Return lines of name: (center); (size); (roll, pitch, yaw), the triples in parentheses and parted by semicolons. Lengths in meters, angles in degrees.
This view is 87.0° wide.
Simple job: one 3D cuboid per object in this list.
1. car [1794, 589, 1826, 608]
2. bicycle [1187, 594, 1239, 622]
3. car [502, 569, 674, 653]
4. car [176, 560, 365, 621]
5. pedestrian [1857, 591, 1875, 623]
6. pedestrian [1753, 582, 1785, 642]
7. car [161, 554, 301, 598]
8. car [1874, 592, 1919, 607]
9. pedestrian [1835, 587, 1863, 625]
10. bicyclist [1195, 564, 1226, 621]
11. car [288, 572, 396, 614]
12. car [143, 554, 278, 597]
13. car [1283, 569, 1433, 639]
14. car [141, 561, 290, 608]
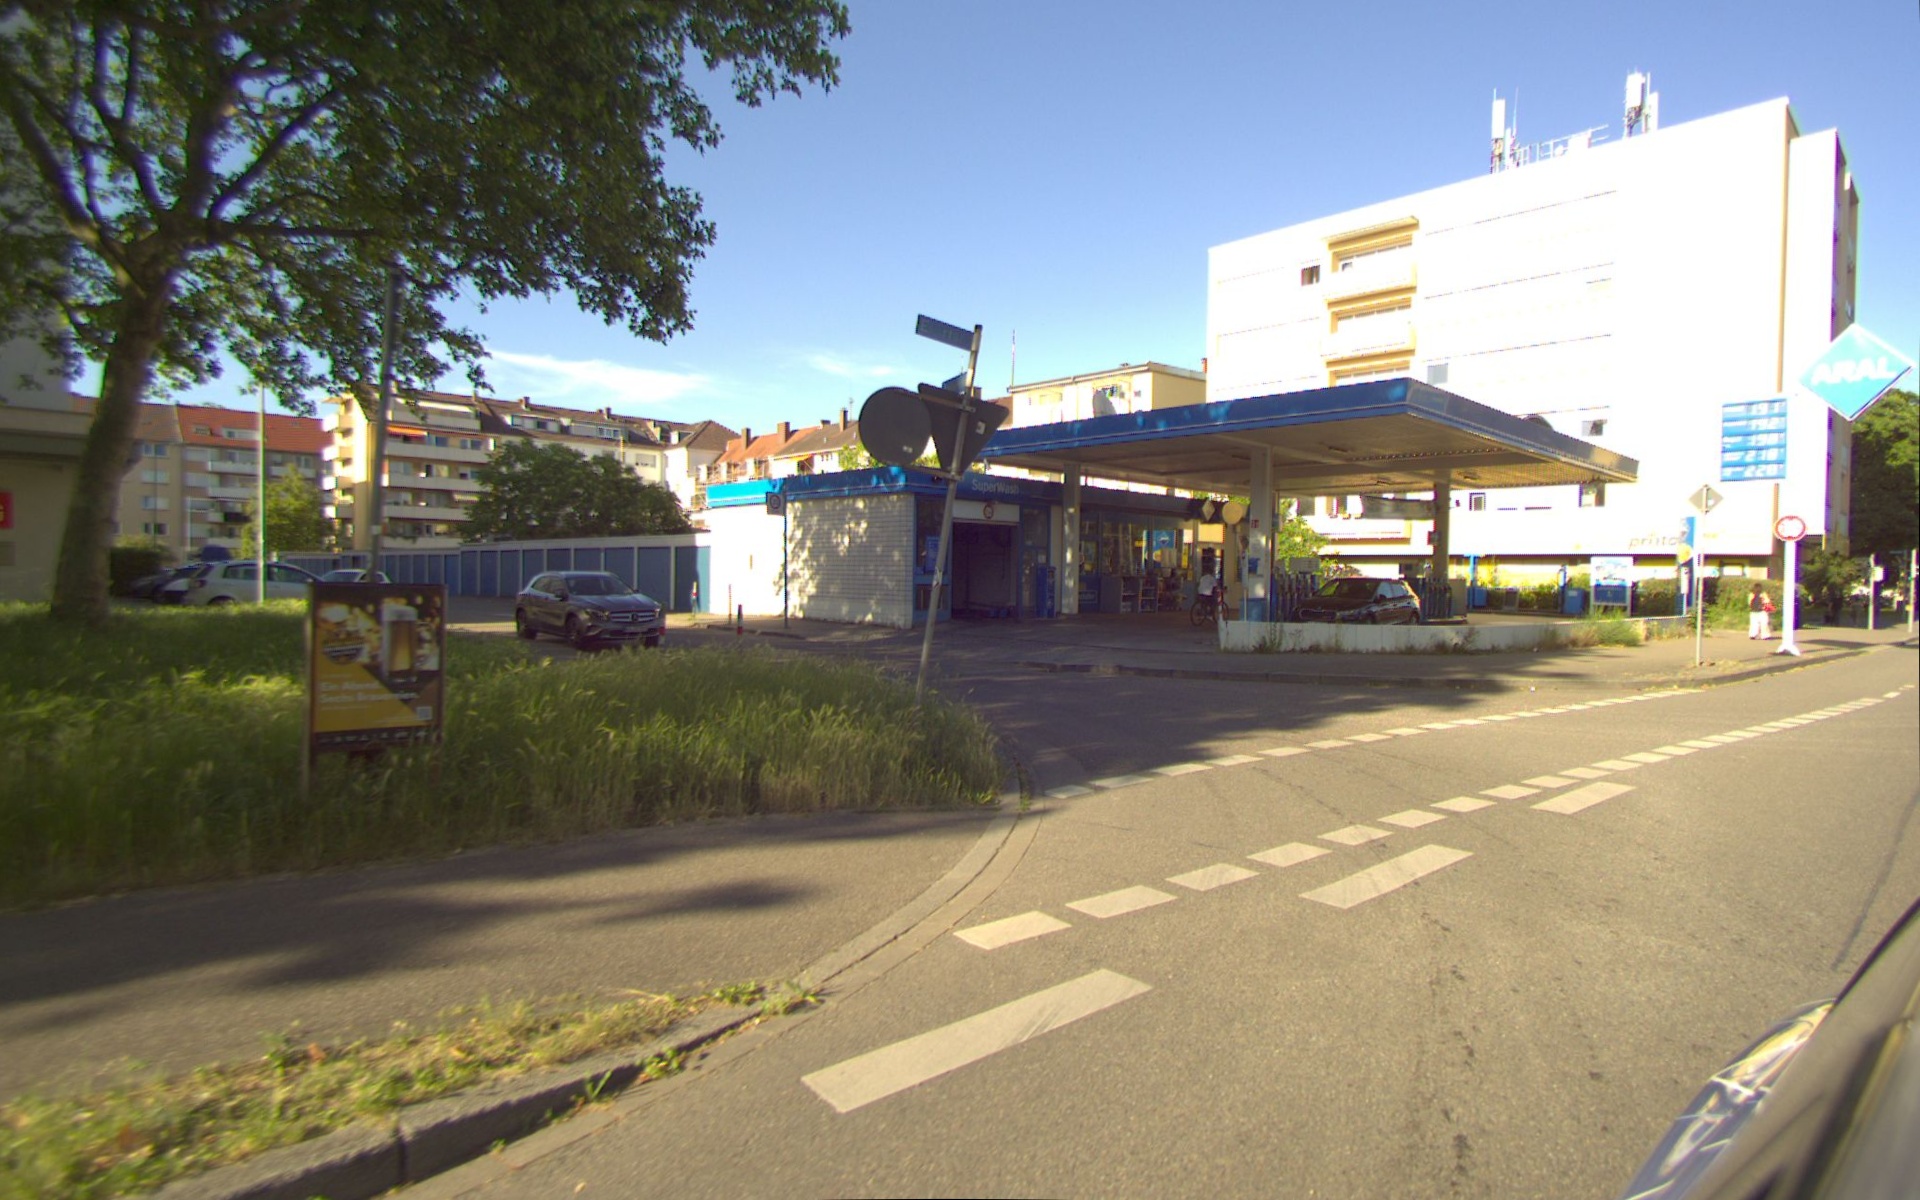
car: (83.604, -0.171, 99.565); (1.988, 1.720, 4.223); (1, 2, 35)
bicycle: (6.956, 0.216, 27.823); (1.679, 0.724, 0.540); (0, 1, -43)
car: (-7.811, 0.155, 21.035); (1.949, 1.550, 4.196); (0, 2, -42)
car: (-18.674, -0.277, 27.502); (4.044, 1.522, 1.872); (-1, 2, -43)
pedestrian: (45.446, 0.338, 50.775); (0.501, 1.565, 0.514); (3, 3, 32)
pedestrian: (23.940, 0.348, 29.949); (0.542, 1.723, 0.606); (0, 1, -37)
car: (-27.499, -0.903, 38.239); (4.131, 1.577, 1.980); (0, 1, -41)
car: (86.082, -0.073, 93.044); (4.193, 1.340, 2.002); (0, 1, -32)
pedestrian: (44.916, 0.307, 51.136); (0.784, 1.850, 1.022); (3, 3, 32)
bicyclist: (6.856, -0.215, 27.717); (0.618, 1.539, 0.539); (0, 1, -42)
car: (-22.398, -0.284, 36.849); (1.880, 1.441, 3.553); (1, 1, -3)
car: (-29.362, -0.940, 39.713); (4.131, 1.577, 1.980); (0, 1, -41)
car: (9.332, 0.063, 23.594); (3.938, 1.481, 1.722); (0, 1, -43)
car: (-26.489, -0.559, 36.053); (4.131, 1.577, 1.980); (0, 1, -41)
